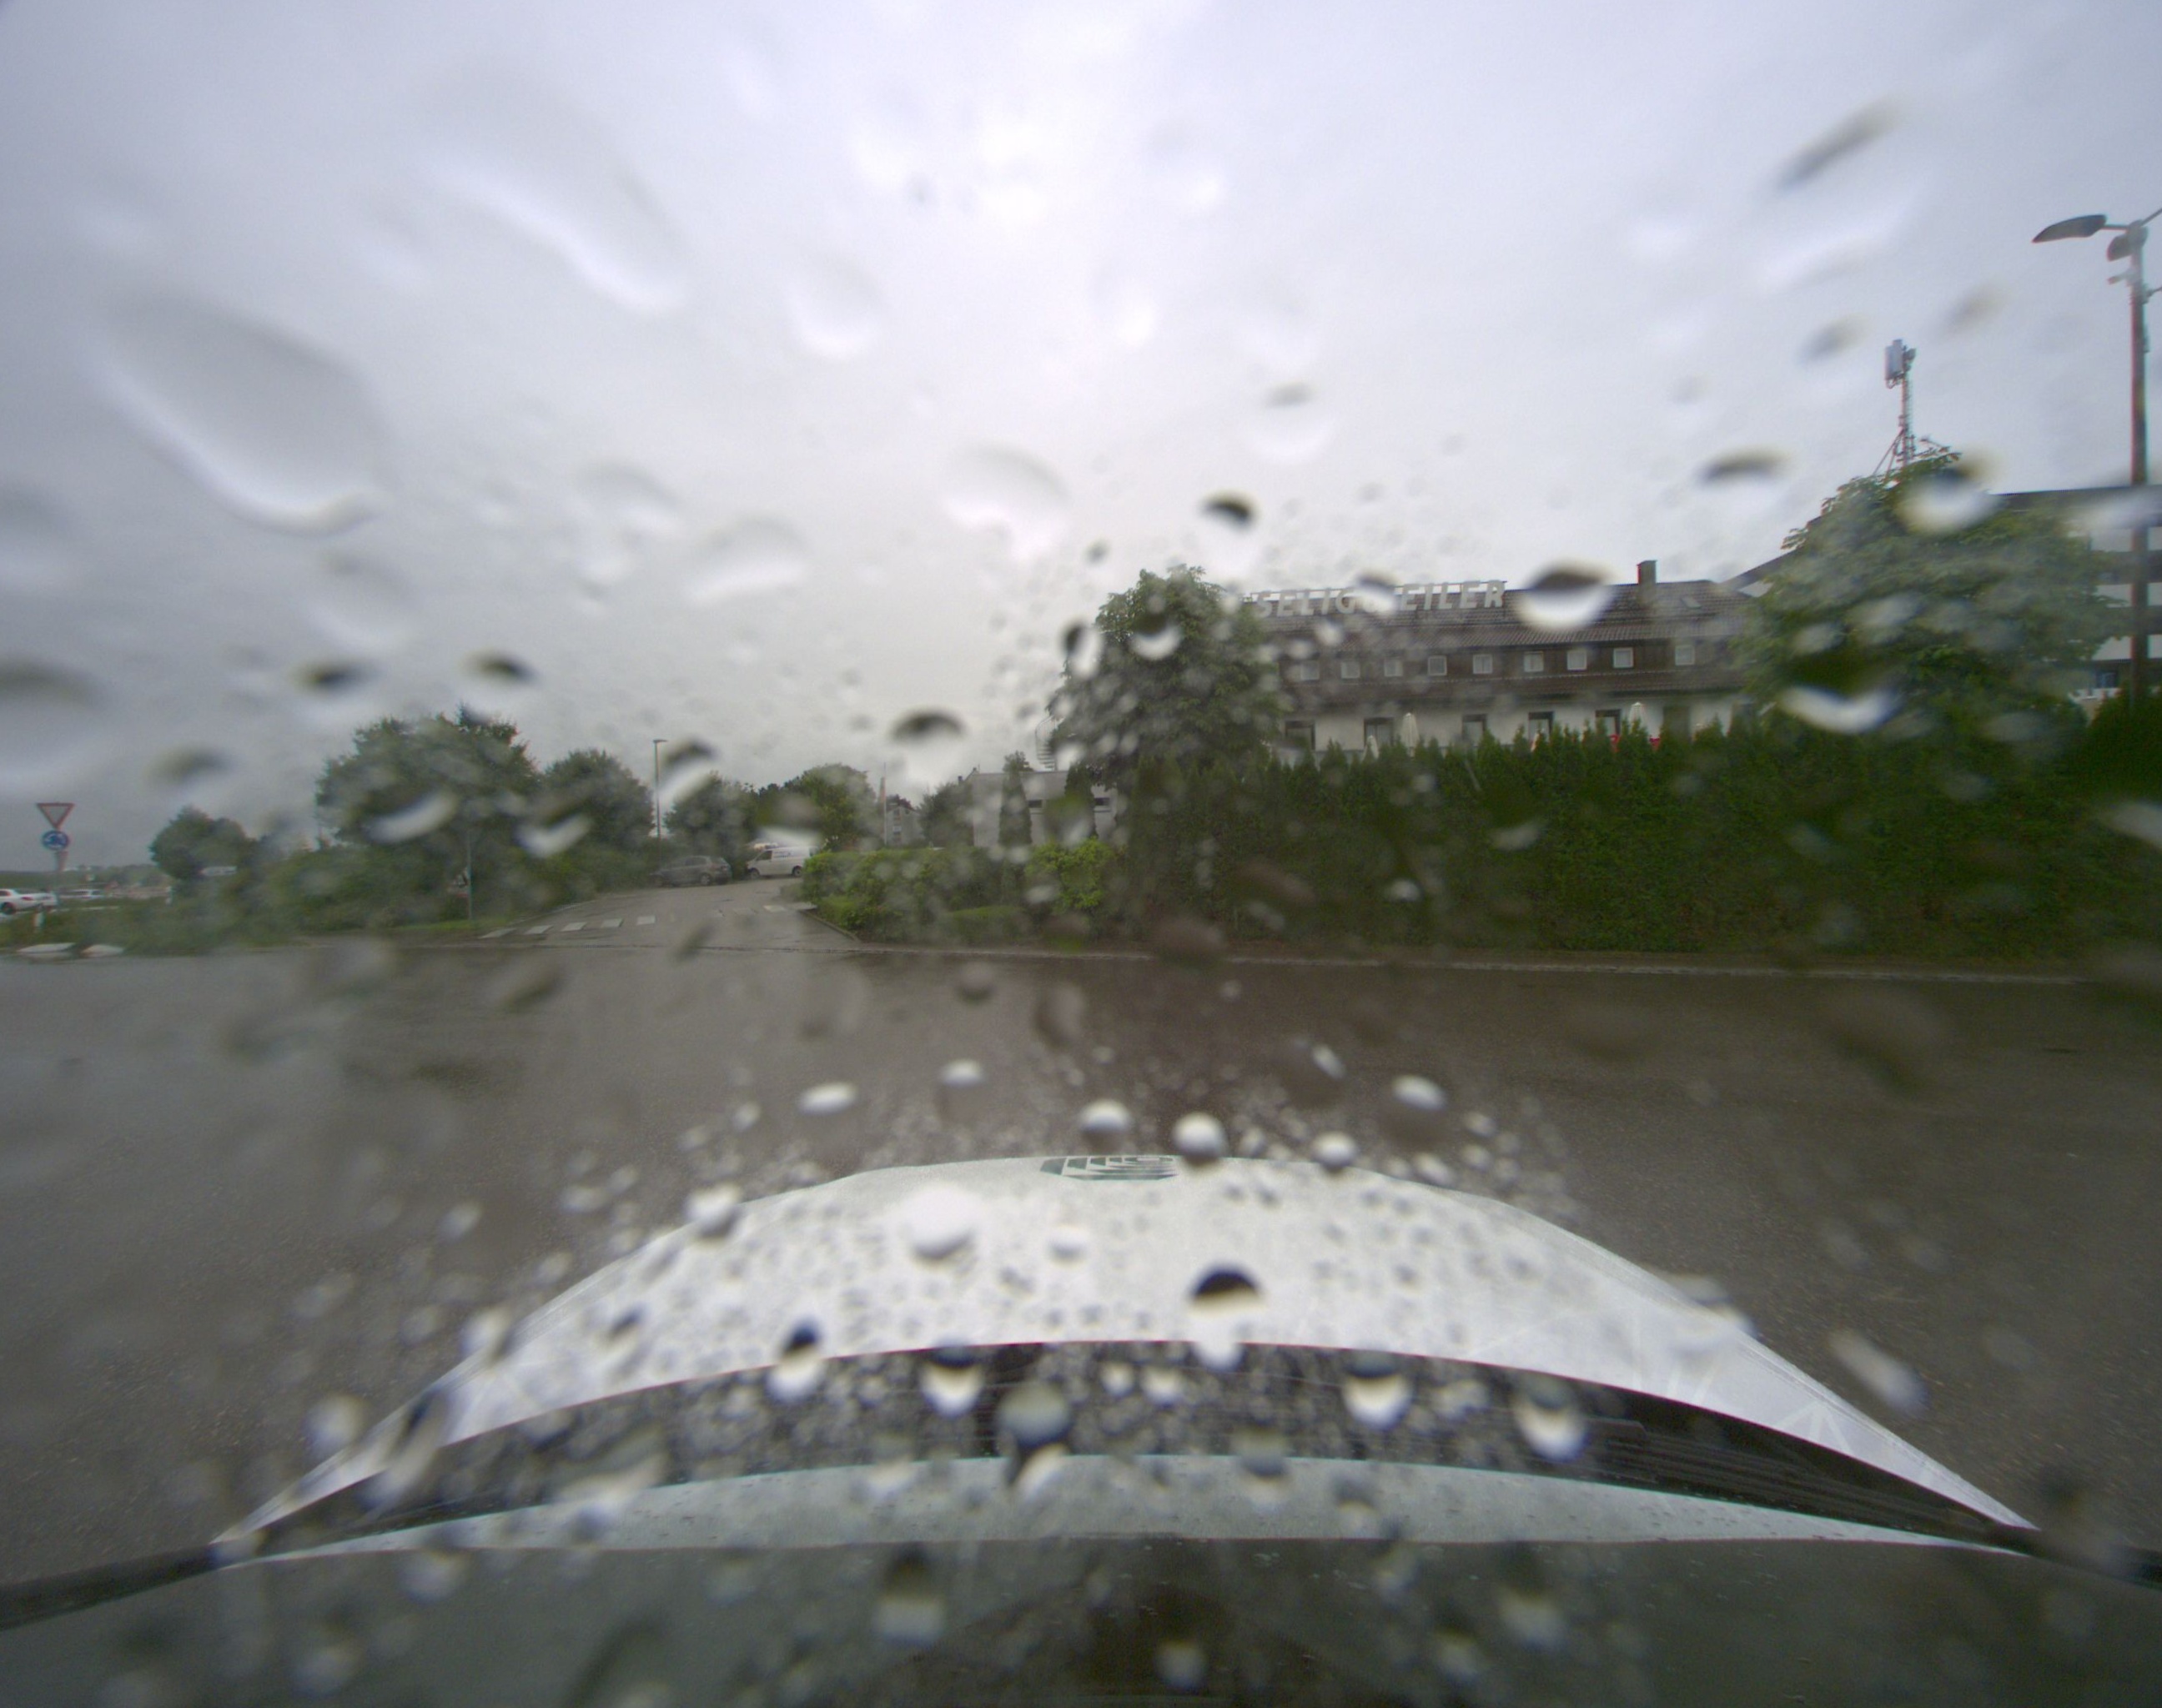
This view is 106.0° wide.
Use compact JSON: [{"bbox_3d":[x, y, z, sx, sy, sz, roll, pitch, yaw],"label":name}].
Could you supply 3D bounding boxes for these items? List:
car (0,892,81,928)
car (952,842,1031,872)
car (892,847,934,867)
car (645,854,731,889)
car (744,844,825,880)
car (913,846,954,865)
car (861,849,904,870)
[{"bbox_3d":[-59.071,3.140,45.304,4.345,1.758,1.746,-3,0,-5],"label":"car"},{"bbox_3d":[-5.108,0.160,46.819,4.156,1.497,1.720,-3,1,4],"label":"car"},{"bbox_3d":[-13.239,0.245,63.980,1.594,1.458,3.636,-4,1,-41],"label":"car"},{"bbox_3d":[-20.290,0.896,42.105,3.714,1.550,1.453,-3,1,4],"label":"car"},{"bbox_3d":[-18.932,0.524,52.105,4.499,2.033,1.647,-3,1,4],"label":"car"},{"bbox_3d":[-11.906,0.131,65.704,1.594,1.458,3.636,-4,1,-41],"label":"car"},{"bbox_3d":[-15.116,0.398,61.919,1.594,1.458,3.636,-4,1,-41],"label":"car"}]
